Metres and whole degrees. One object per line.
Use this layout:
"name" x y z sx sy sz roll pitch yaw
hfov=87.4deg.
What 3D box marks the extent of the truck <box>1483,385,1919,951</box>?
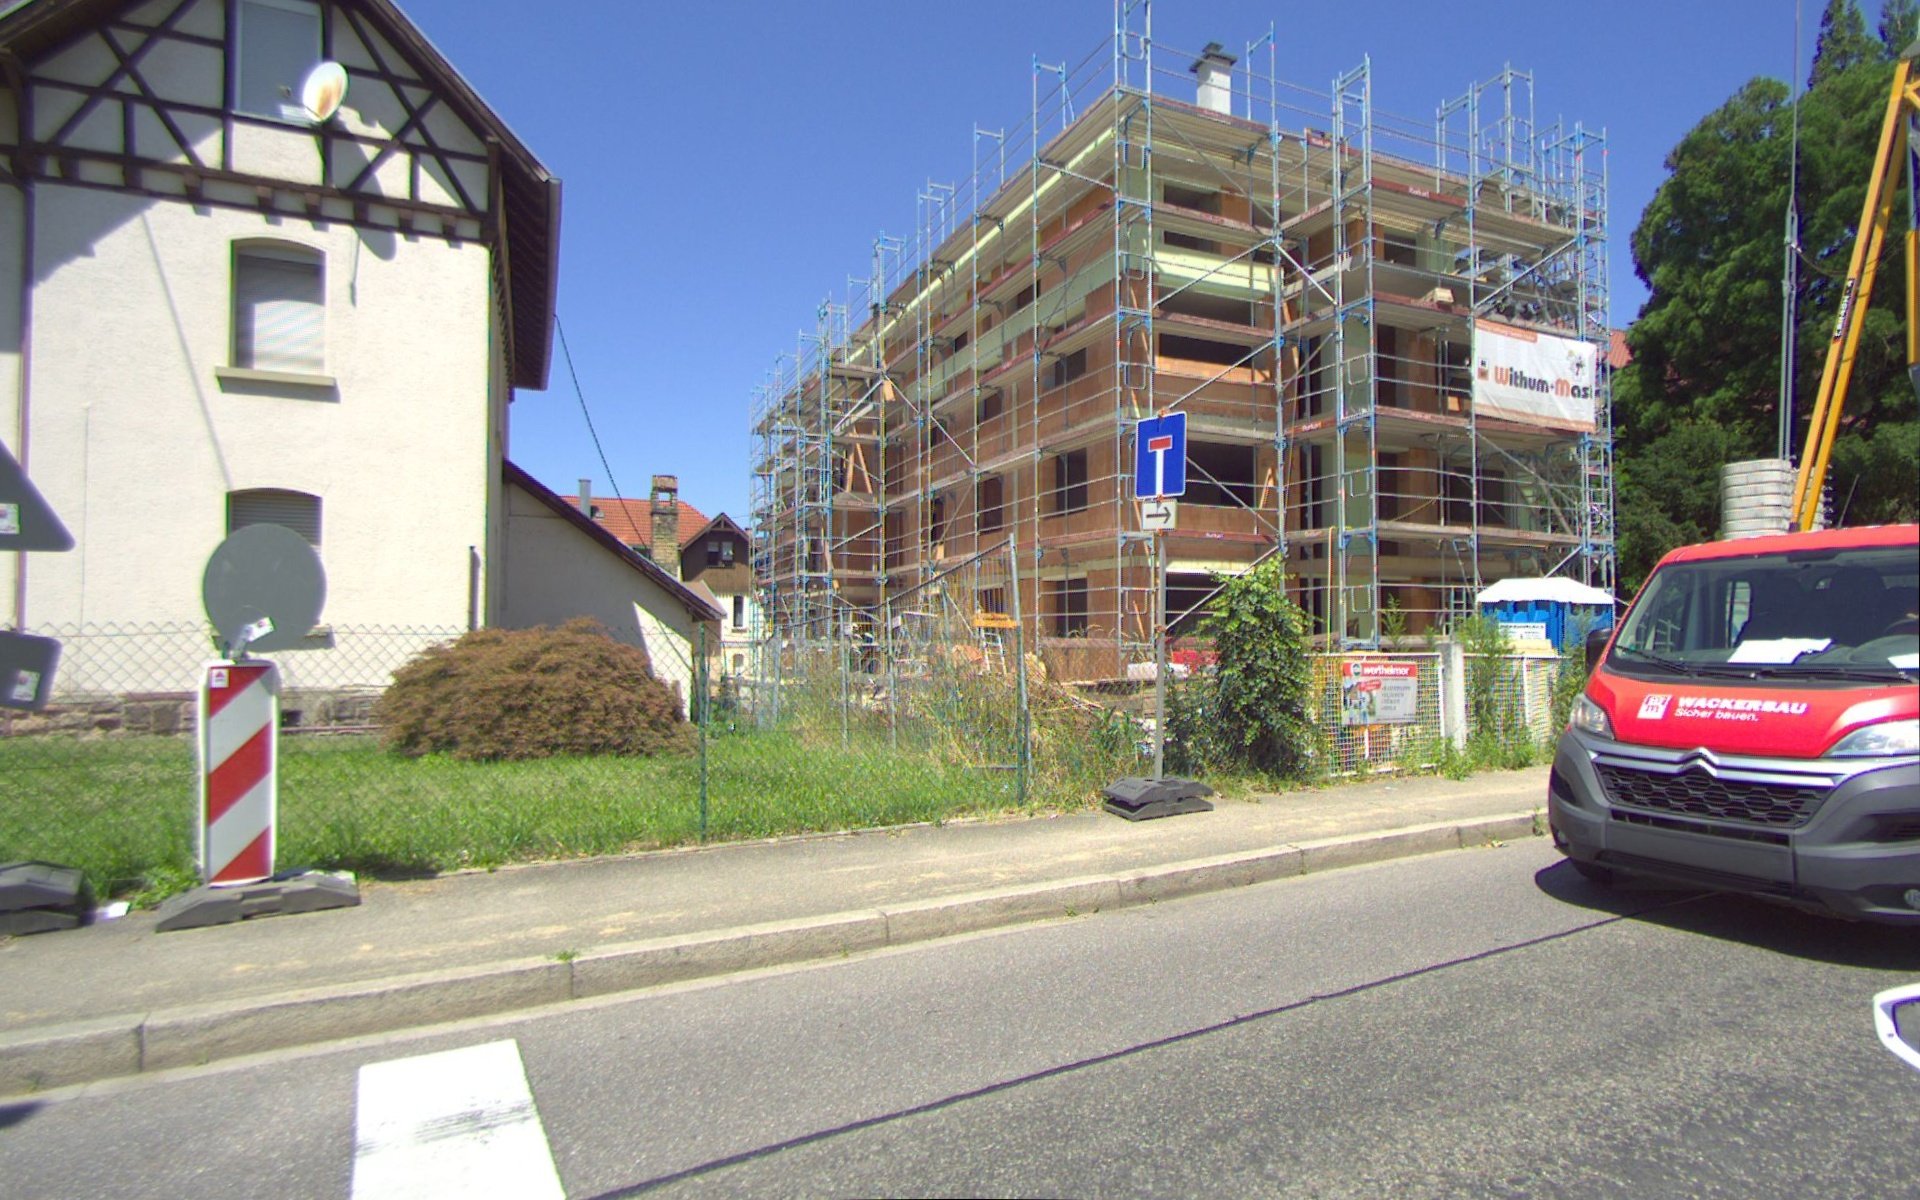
"truck" 6.405 0.377 6.536 6.354 2.370 2.119 2 -1 -28
